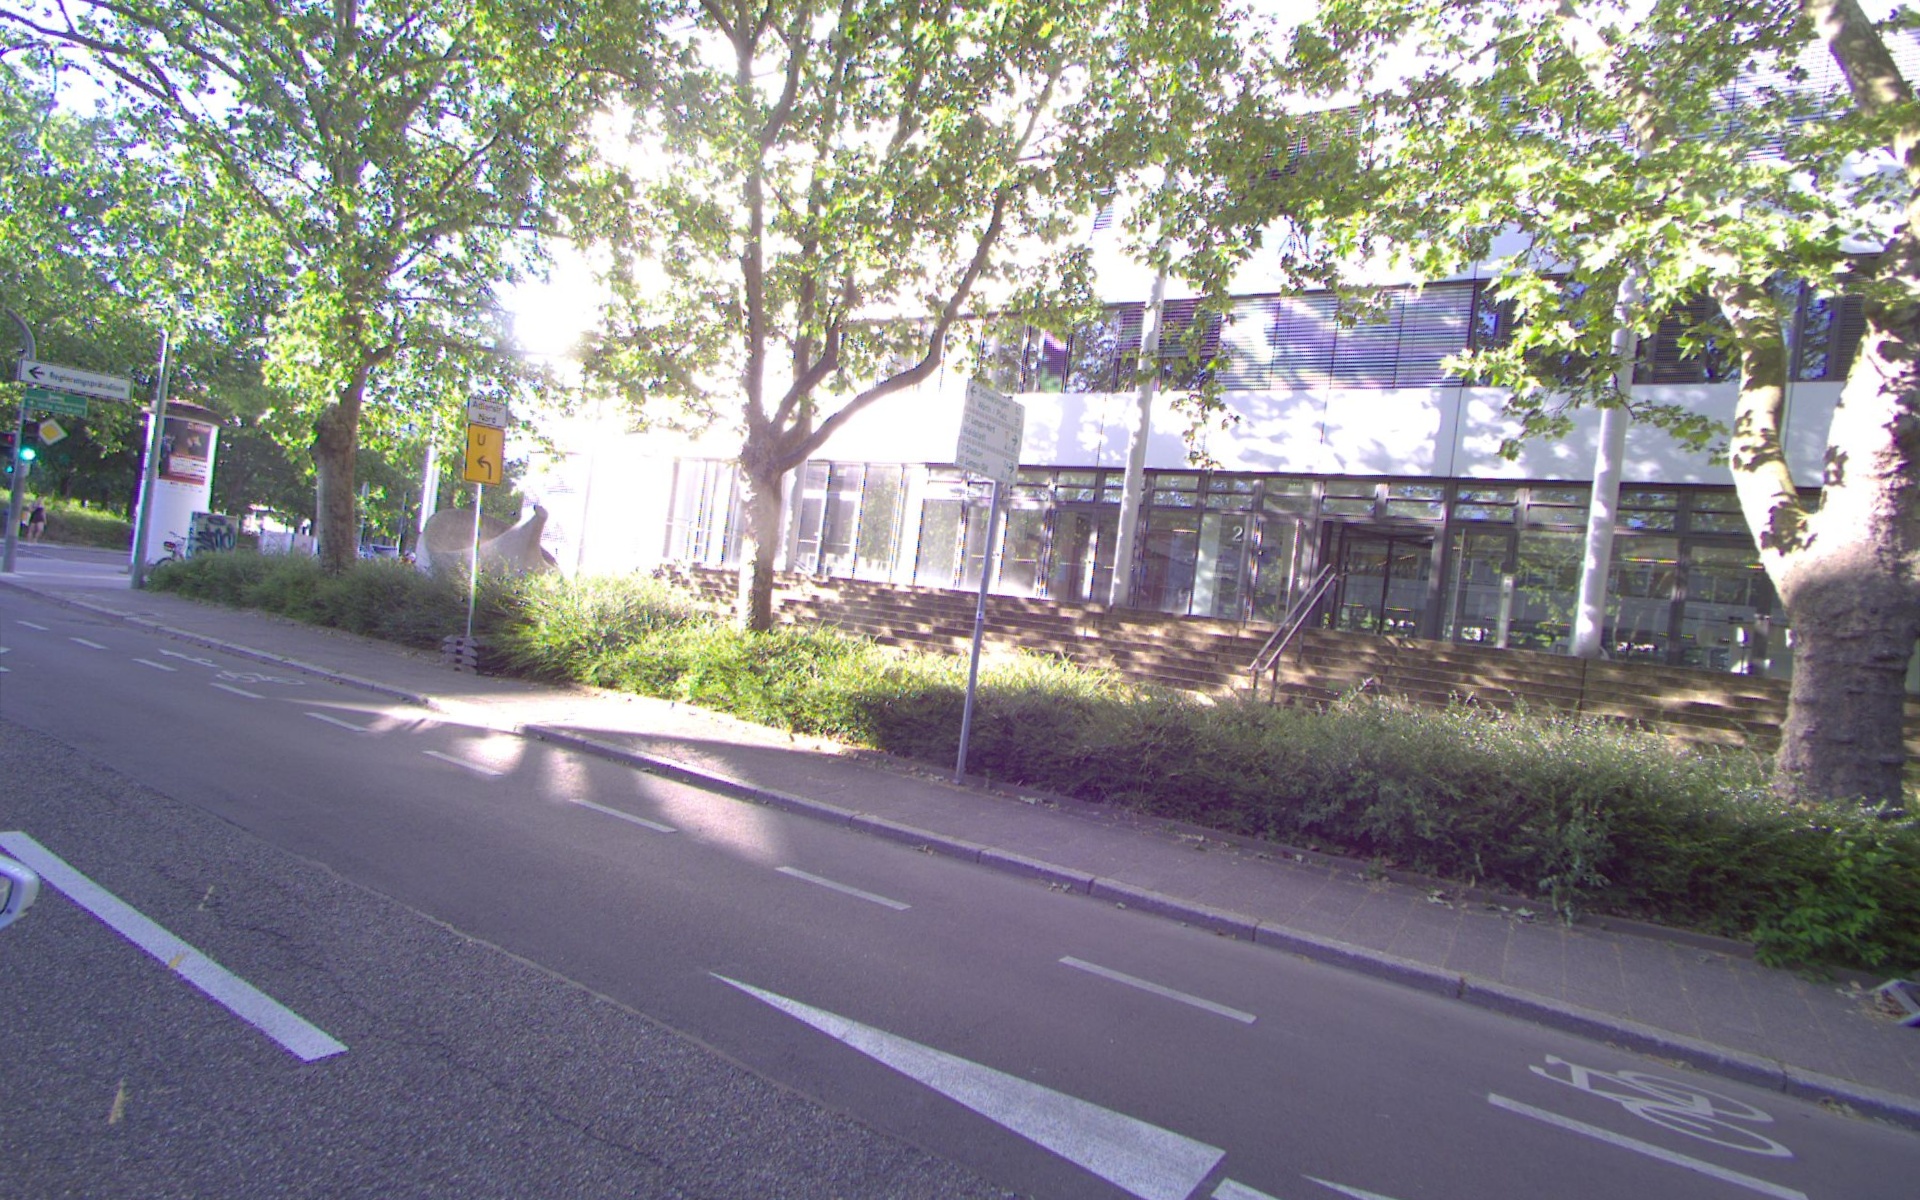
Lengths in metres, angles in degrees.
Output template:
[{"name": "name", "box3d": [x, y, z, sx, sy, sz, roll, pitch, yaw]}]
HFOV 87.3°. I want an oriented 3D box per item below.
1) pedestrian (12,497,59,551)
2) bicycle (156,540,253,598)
[{"name": "pedestrian", "box3d": [-29.650, -2.441, 32.272, 0.893, 1.563, 0.638, 7, -1, 20]}, {"name": "bicycle", "box3d": [-15.922, -0.635, 21.260, 0.631, 1.040, 1.887, 7, -2, -5]}]
